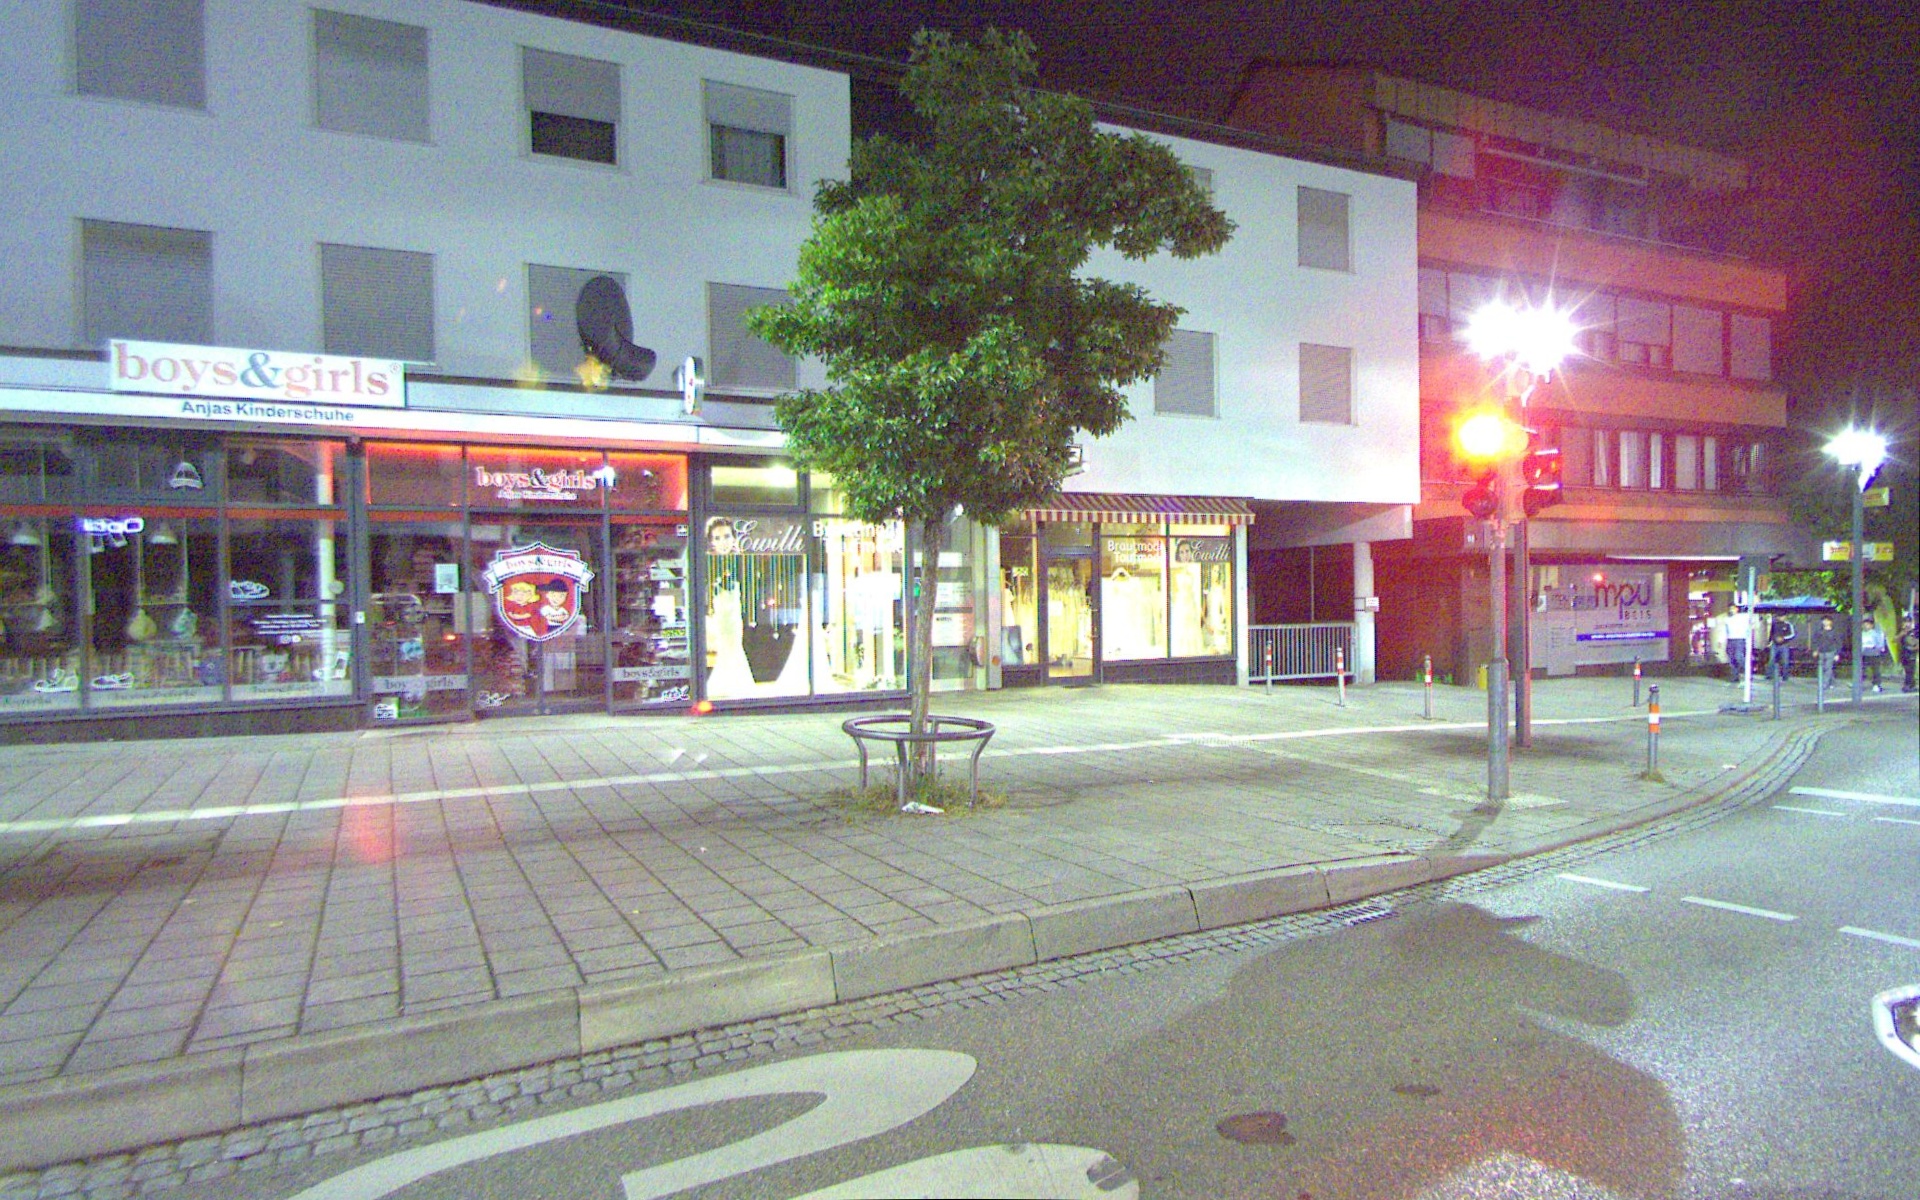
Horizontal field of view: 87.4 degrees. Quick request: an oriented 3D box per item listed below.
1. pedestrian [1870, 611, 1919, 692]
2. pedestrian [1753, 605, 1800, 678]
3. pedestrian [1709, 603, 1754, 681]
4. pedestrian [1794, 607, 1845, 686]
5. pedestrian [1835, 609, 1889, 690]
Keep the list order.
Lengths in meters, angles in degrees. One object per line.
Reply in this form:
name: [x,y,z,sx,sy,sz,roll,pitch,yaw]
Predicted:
pedestrian: [21.600,1.174,23.055,0.724,1.819,0.717,2,-1,-10]
pedestrian: [20.800,1.039,25.594,0.561,1.819,0.714,3,-1,-23]
pedestrian: [18.610,1.007,24.239,0.565,1.819,0.710,3,-1,-39]
pedestrian: [20.320,1.087,23.760,0.561,1.819,0.714,3,-1,-23]
pedestrian: [20.784,1.126,23.154,0.561,1.819,0.714,3,-1,-23]
